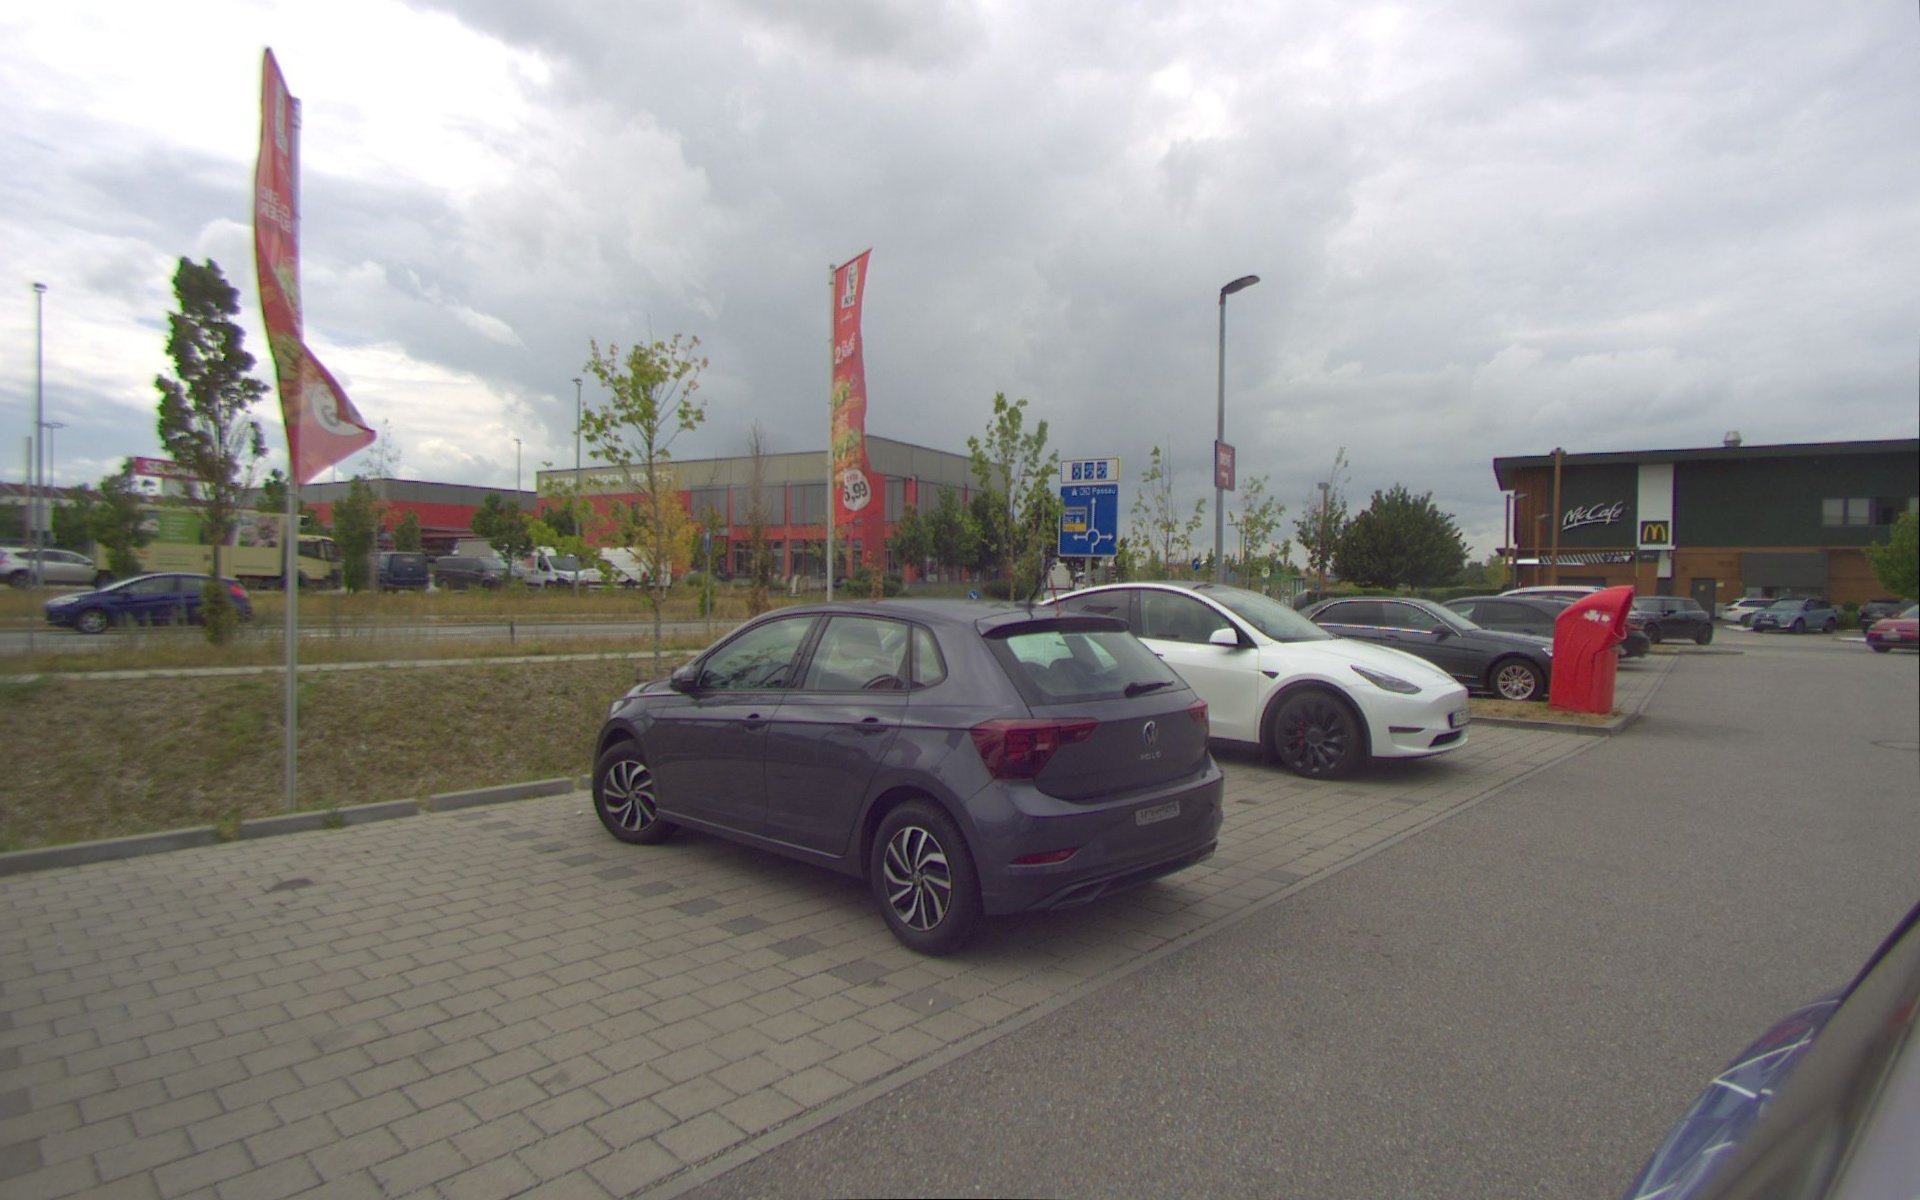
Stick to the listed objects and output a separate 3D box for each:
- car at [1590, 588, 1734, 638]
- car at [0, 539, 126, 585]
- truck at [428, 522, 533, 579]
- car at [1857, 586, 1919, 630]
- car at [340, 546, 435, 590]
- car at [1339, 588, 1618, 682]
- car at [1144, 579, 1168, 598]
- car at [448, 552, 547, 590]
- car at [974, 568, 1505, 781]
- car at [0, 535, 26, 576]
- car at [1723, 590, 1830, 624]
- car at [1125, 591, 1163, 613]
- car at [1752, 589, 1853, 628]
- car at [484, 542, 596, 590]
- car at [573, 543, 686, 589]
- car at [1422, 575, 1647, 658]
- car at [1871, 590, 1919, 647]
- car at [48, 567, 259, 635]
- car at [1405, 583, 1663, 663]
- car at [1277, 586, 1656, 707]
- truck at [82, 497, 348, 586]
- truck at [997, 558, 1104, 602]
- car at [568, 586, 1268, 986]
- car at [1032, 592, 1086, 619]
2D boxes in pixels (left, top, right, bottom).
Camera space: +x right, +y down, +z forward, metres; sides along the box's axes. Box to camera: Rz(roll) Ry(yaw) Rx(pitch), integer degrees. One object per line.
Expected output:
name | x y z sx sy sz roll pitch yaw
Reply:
car | 21.440 0.381 30.925 3.847 1.430 1.691 1 0 -20
car | -36.997 -1.541 41.405 1.915 1.793 4.254 3 3 43
truck | -33.961 -3.542 71.567 8.193 3.789 2.627 3 2 32
car | 41.267 0.379 43.873 3.916 1.771 2.005 2 1 -24
car | -26.324 -1.448 46.478 5.044 1.908 2.049 1 1 39
car | 8.791 0.553 17.279 4.043 1.430 1.865 -1 -1 35
car | 19.595 -1.209 101.338 1.965 1.726 3.995 1 2 6
car | -22.920 -1.446 50.059 5.034 1.659 2.053 3 2 33
car | 2.456 0.563 9.651 4.527 1.560 1.897 -1 -1 42
car | -44.223 -2.075 46.114 3.983 1.793 1.971 3 2 40
car | 41.891 0.331 52.068 3.966 1.524 1.770 3 2 30
car | 13.675 0.172 74.934 1.737 1.510 4.093 2 0 25
car | 38.058 0.370 45.719 3.823 1.604 1.755 -1 3 -20
car | -21.830 -1.763 52.517 6.016 2.241 2.388 3 1 33
car | -18.409 -1.915 56.254 6.454 2.295 2.320 3 2 31
car | 13.177 0.366 23.313 4.343 1.735 1.967 -1 -1 35
car | 27.069 0.521 27.437 3.915 1.483 1.691 1 0 -16
car | -19.472 0.006 24.524 3.856 1.477 1.657 0 3 -44
car | 11.862 0.451 21.067 4.486 1.485 1.923 -1 -1 35
car | 7.278 0.594 14.788 4.713 1.474 1.887 -1 1 36
truck | -30.280 -2.334 41.647 8.254 3.235 3.037 1 2 -20
truck | 10.150 -2.369 115.079 11.939 4.554 3.715 3 2 39
car | -0.474 0.680 5.567 3.795 1.430 1.711 -1 -1 44
car | 5.875 0.357 59.771 1.739 1.510 4.088 2 0 28
